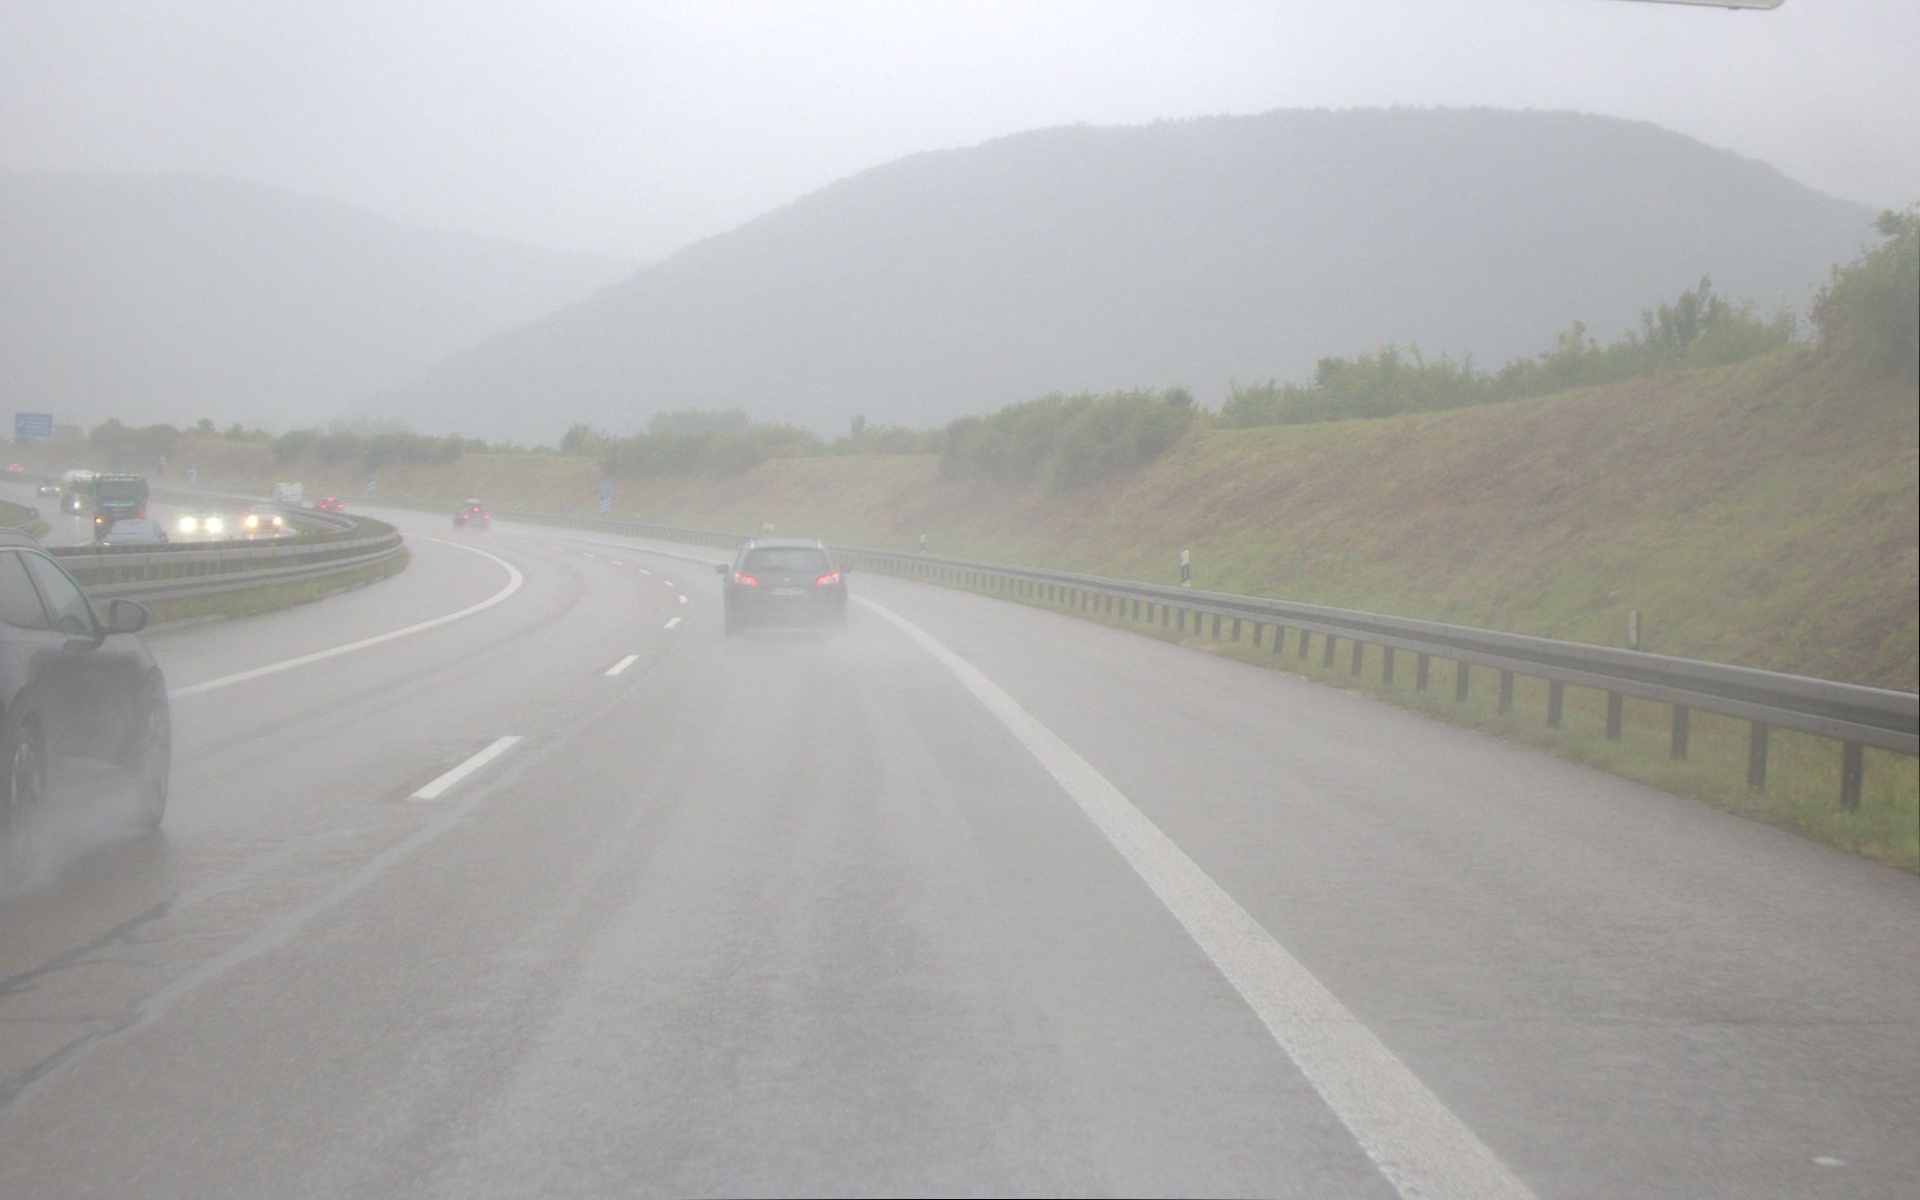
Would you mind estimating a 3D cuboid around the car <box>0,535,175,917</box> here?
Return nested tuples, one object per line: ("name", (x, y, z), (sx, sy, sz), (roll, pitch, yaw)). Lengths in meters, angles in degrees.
("car", (-5.072, 0.445, 16.051), (2.405, 1.510, 4.785), (2, 1, -9))

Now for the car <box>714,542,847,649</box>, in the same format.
("car", (-2.620, -0.093, 50.804), (1.679, 1.467, 3.814), (2, 1, 1))

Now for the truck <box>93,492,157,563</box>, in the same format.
("truck", (-42.025, -3.666, 173.111), (2.715, 3.530, 5.312), (0, 1, -9))

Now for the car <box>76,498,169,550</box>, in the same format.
("car", (-26.609, -2.405, 109.328), (1.993, 1.514, 4.000), (3, 1, -1))
